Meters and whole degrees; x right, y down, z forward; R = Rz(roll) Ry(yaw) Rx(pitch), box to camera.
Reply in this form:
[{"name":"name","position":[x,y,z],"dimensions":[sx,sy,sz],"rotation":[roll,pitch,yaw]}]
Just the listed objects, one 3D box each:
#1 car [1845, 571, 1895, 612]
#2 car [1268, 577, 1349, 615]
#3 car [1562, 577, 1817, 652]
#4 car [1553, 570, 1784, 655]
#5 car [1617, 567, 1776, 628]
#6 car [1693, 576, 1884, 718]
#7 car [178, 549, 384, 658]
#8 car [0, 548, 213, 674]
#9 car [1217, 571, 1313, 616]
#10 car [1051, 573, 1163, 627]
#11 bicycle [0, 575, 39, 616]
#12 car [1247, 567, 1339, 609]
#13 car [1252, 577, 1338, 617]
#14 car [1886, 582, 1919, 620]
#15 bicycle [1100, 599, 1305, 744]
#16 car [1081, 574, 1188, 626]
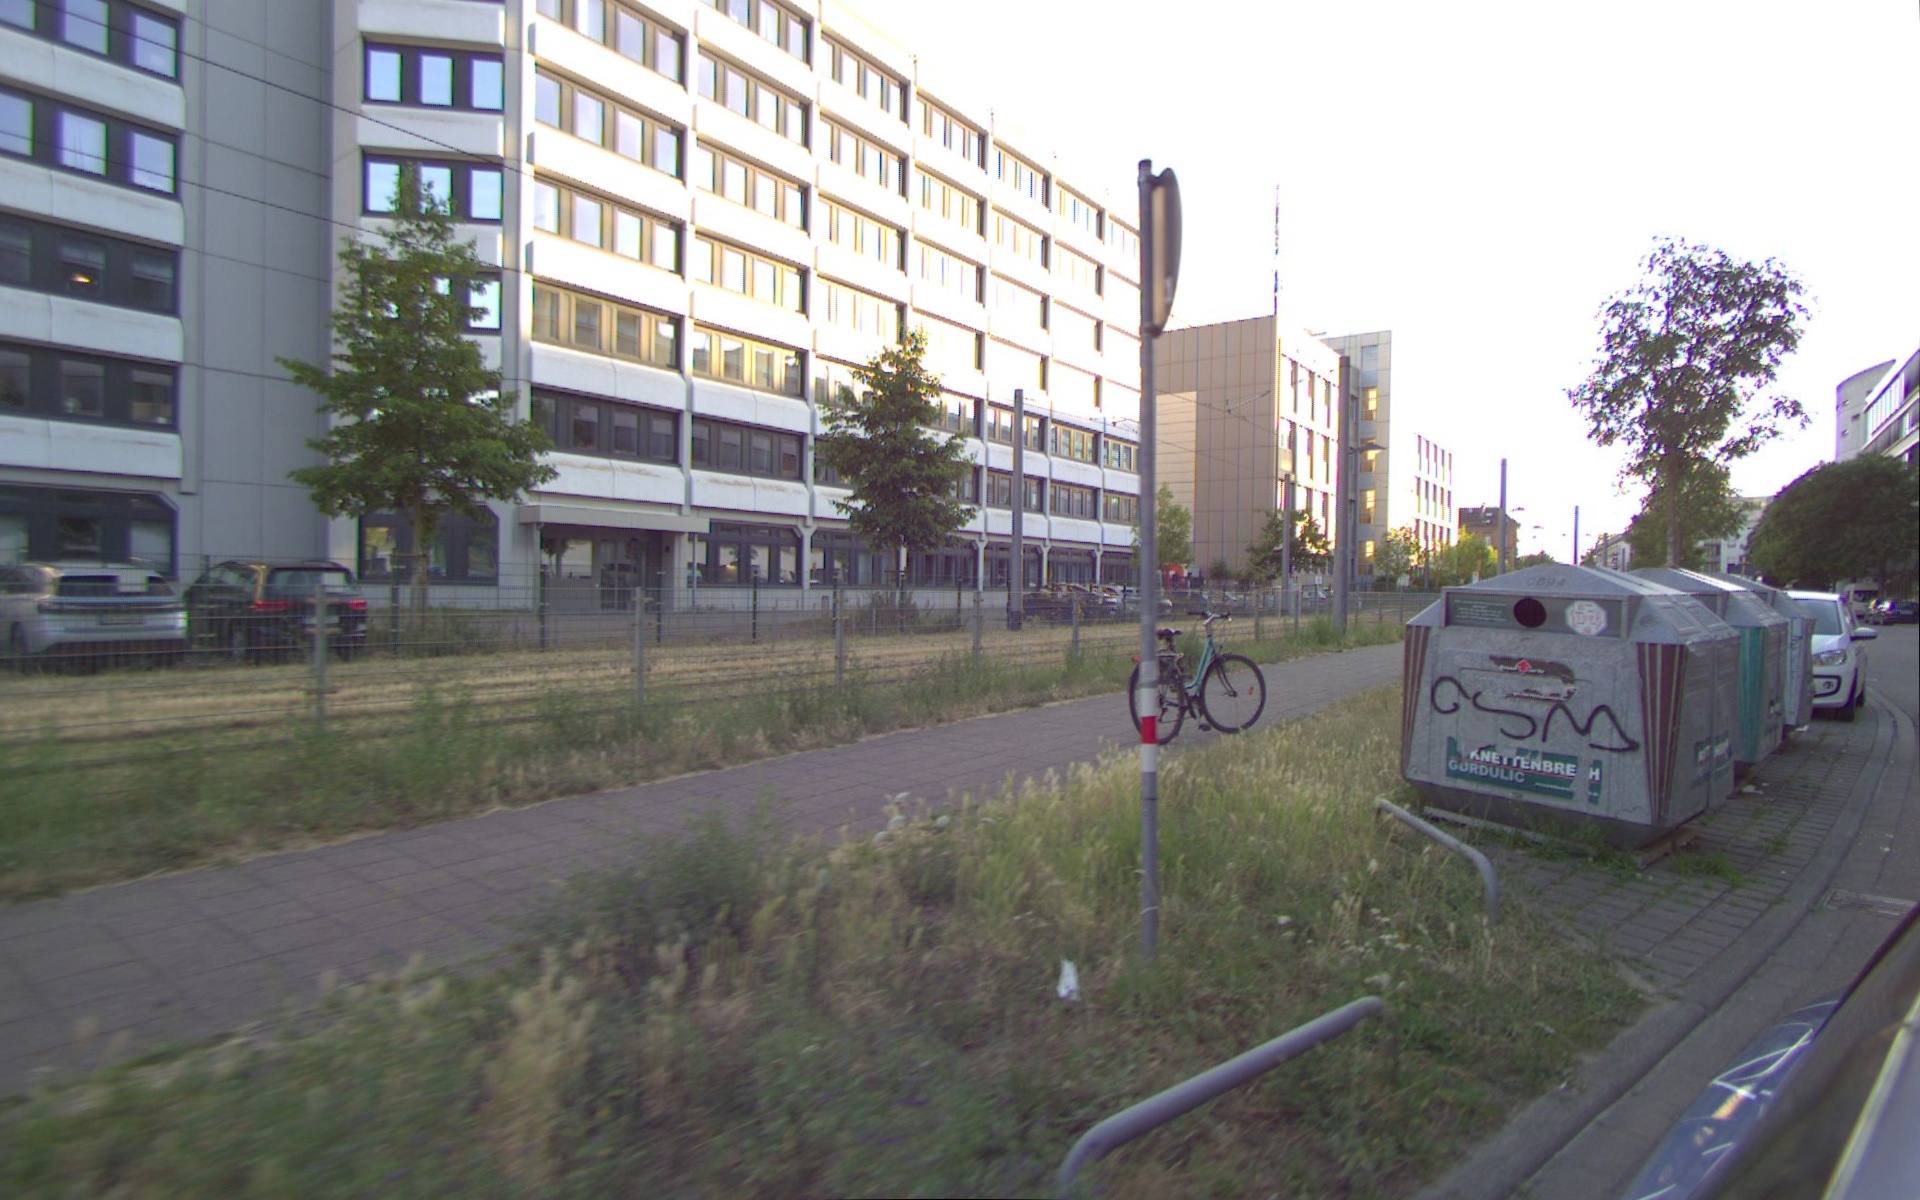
[{"name":"car","position":[61.547,-0.578,68.519],"dimensions":[1.988,2.617,3.949],"rotation":[2,1,35]},{"name":"car","position":[19.798,-0.254,57.595],"dimensions":[3.975,2.039,1.974],"rotation":[1,1,36]},{"name":"car","position":[14.788,0.273,20.654],"dimensions":[3.924,1.393,1.718],"rotation":[1,1,0]},{"name":"car","position":[15.863,0.264,22.817],"dimensions":[3.926,1.778,1.717],"rotation":[1,0,2]},{"name":"car","position":[25.257,-0.086,34.812],"dimensions":[4.096,1.984,1.717],"rotation":[1,0,2]},{"name":"car","position":[10.561,0.499,12.825],"dimensions":[1.626,1.530,3.364],"rotation":[2,1,43]},{"name":"car","position":[-11.435,0.008,16.956],"dimensions":[3.980,1.613,1.792],"rotation":[1,1,39]},{"name":"car","position":[-12.848,0.098,15.053],"dimensions":[4.384,1.613,1.792],"rotation":[1,1,39]},{"name":"car","position":[14.585,-0.335,48.456],"dimensions":[3.975,2.039,1.974],"rotation":[1,1,36]},{"name":"car","position":[5.829,-0.023,40.246],"dimensions":[3.975,2.039,1.974],"rotation":[1,1,36]},{"name":"bicycle","position":[-23.079,-0.113,23.665],"dimensions":[0.810,0.962,2.185],"rotation":[2,1,37]},{"name":"car","position":[16.568,-0.611,50.368],"dimensions":[3.975,2.039,1.974],"rotation":[1,1,36]},{"name":"car","position":[17.888,-0.180,54.051],"dimensions":[3.975,2.039,1.974],"rotation":[1,1,36]},{"name":"car","position":[53.320,0.040,56.631],"dimensions":[1.992,2.039,3.941],"rotation":[2,1,40]},{"name":"bicycle","position":[2.126,0.574,8.769],"dimensions":[1.887,1.149,0.543],"rotation":[0,0,-31]},{"name":"car","position":[7.336,-0.029,42.656],"dimensions":[3.975,2.039,1.974],"rotation":[1,1,36]}]
